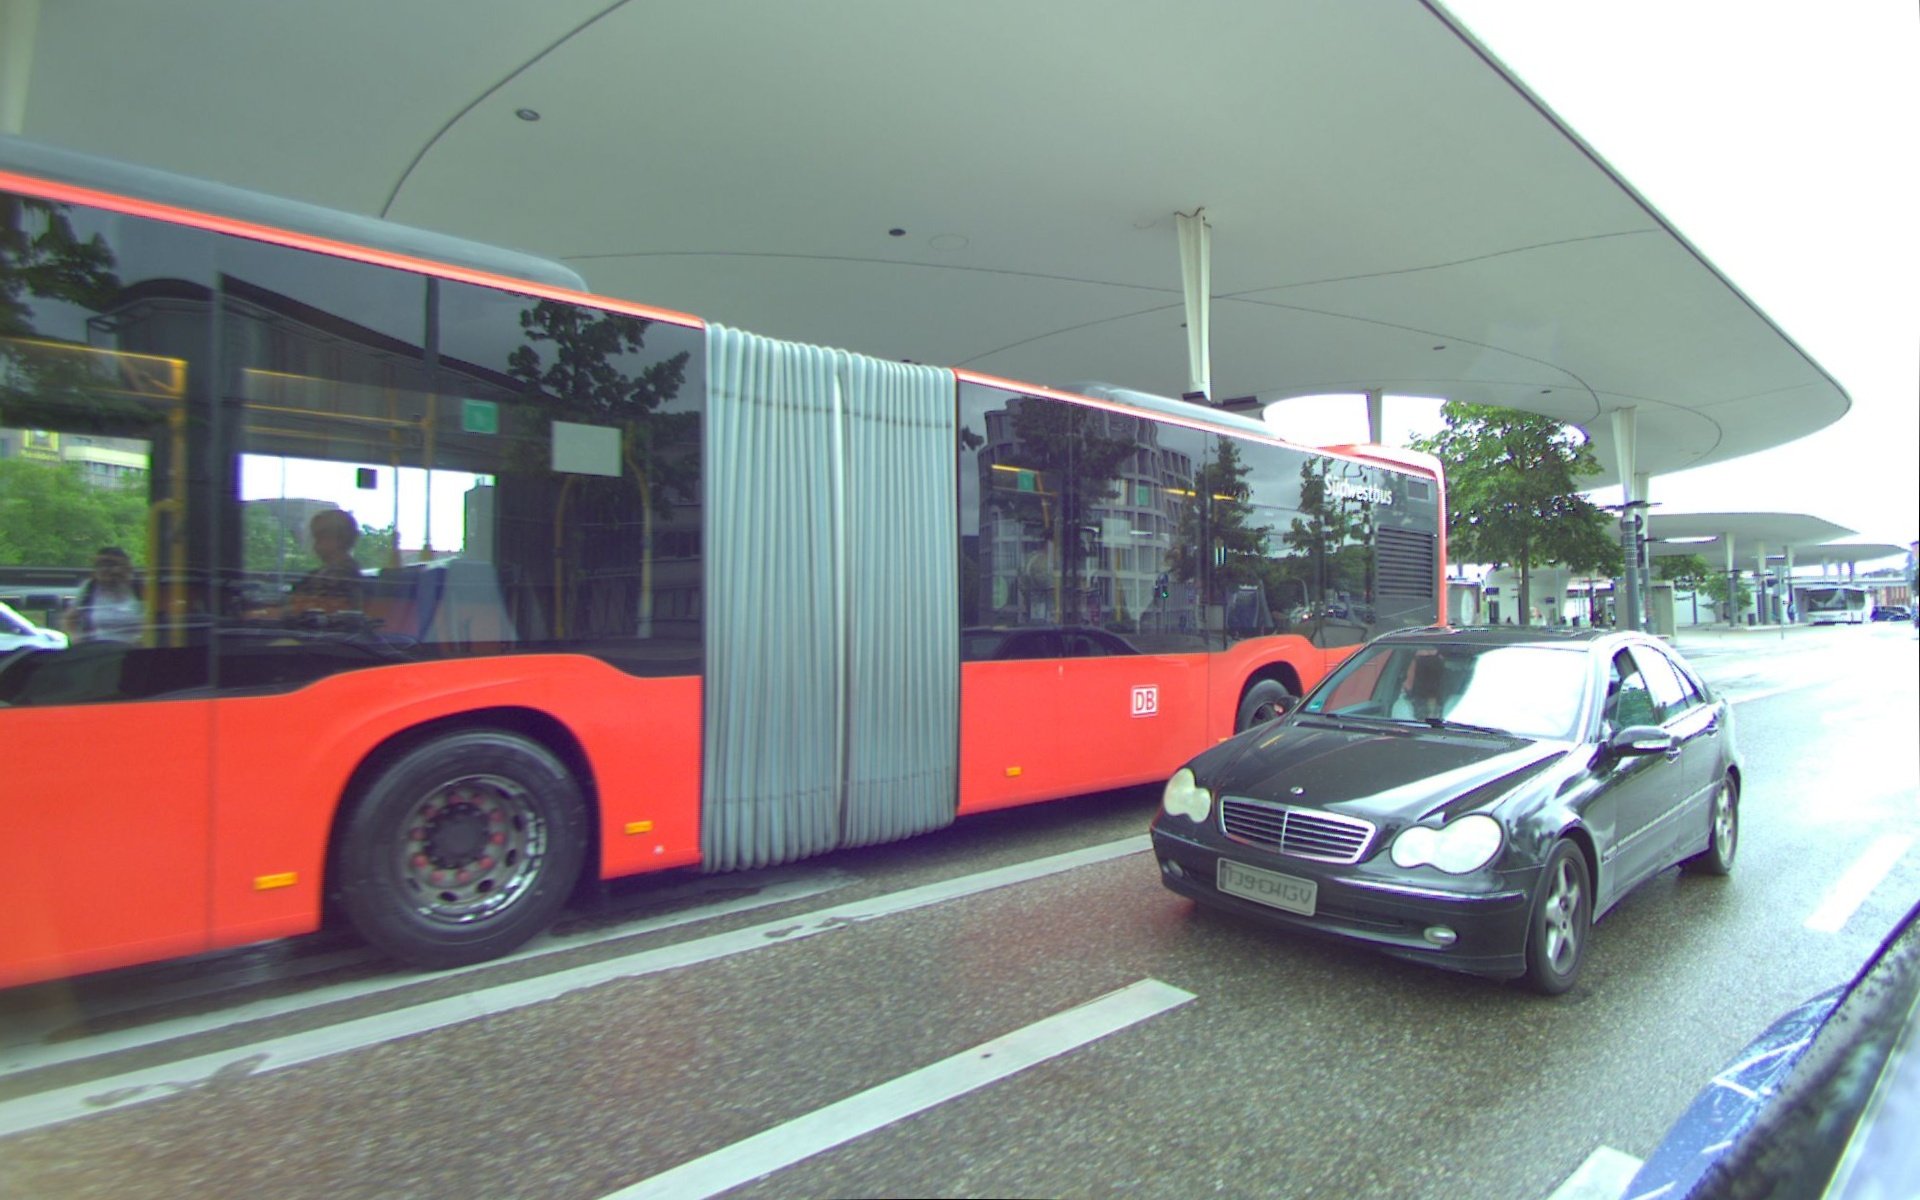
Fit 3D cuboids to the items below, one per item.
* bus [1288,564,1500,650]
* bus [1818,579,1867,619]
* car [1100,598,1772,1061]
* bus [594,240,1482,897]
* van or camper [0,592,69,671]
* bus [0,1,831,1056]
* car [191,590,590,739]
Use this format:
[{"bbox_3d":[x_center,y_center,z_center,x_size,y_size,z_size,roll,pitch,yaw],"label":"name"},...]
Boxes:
[{"bbox_3d":[18.346,0.232,42.125,12.136,3.145,3.002,0,2,-40],"label":"bus"},{"bbox_3d":[73.392,-0.041,84.110,2.666,3.169,9.565,-1,-1,43],"label":"bus"},{"bbox_3d":[2.828,0.756,5.433,4.360,1.499,1.747,0,-1,-43],"label":"car"},{"bbox_3d":[1.355,-0.152,8.619,7.978,3.214,2.747,0,-1,-41],"label":"bus"},{"bbox_3d":[-31.748,0.988,31.563,5.867,2.495,2.106,0,-1,-41],"label":"van or camper"},{"bbox_3d":[-5.308,-0.226,2.823,10.016,3.214,2.747,0,-1,-41],"label":"bus"},{"bbox_3d":[-7.422,0.752,13.450,4.355,1.670,1.803,0,-2,-41],"label":"car"}]
